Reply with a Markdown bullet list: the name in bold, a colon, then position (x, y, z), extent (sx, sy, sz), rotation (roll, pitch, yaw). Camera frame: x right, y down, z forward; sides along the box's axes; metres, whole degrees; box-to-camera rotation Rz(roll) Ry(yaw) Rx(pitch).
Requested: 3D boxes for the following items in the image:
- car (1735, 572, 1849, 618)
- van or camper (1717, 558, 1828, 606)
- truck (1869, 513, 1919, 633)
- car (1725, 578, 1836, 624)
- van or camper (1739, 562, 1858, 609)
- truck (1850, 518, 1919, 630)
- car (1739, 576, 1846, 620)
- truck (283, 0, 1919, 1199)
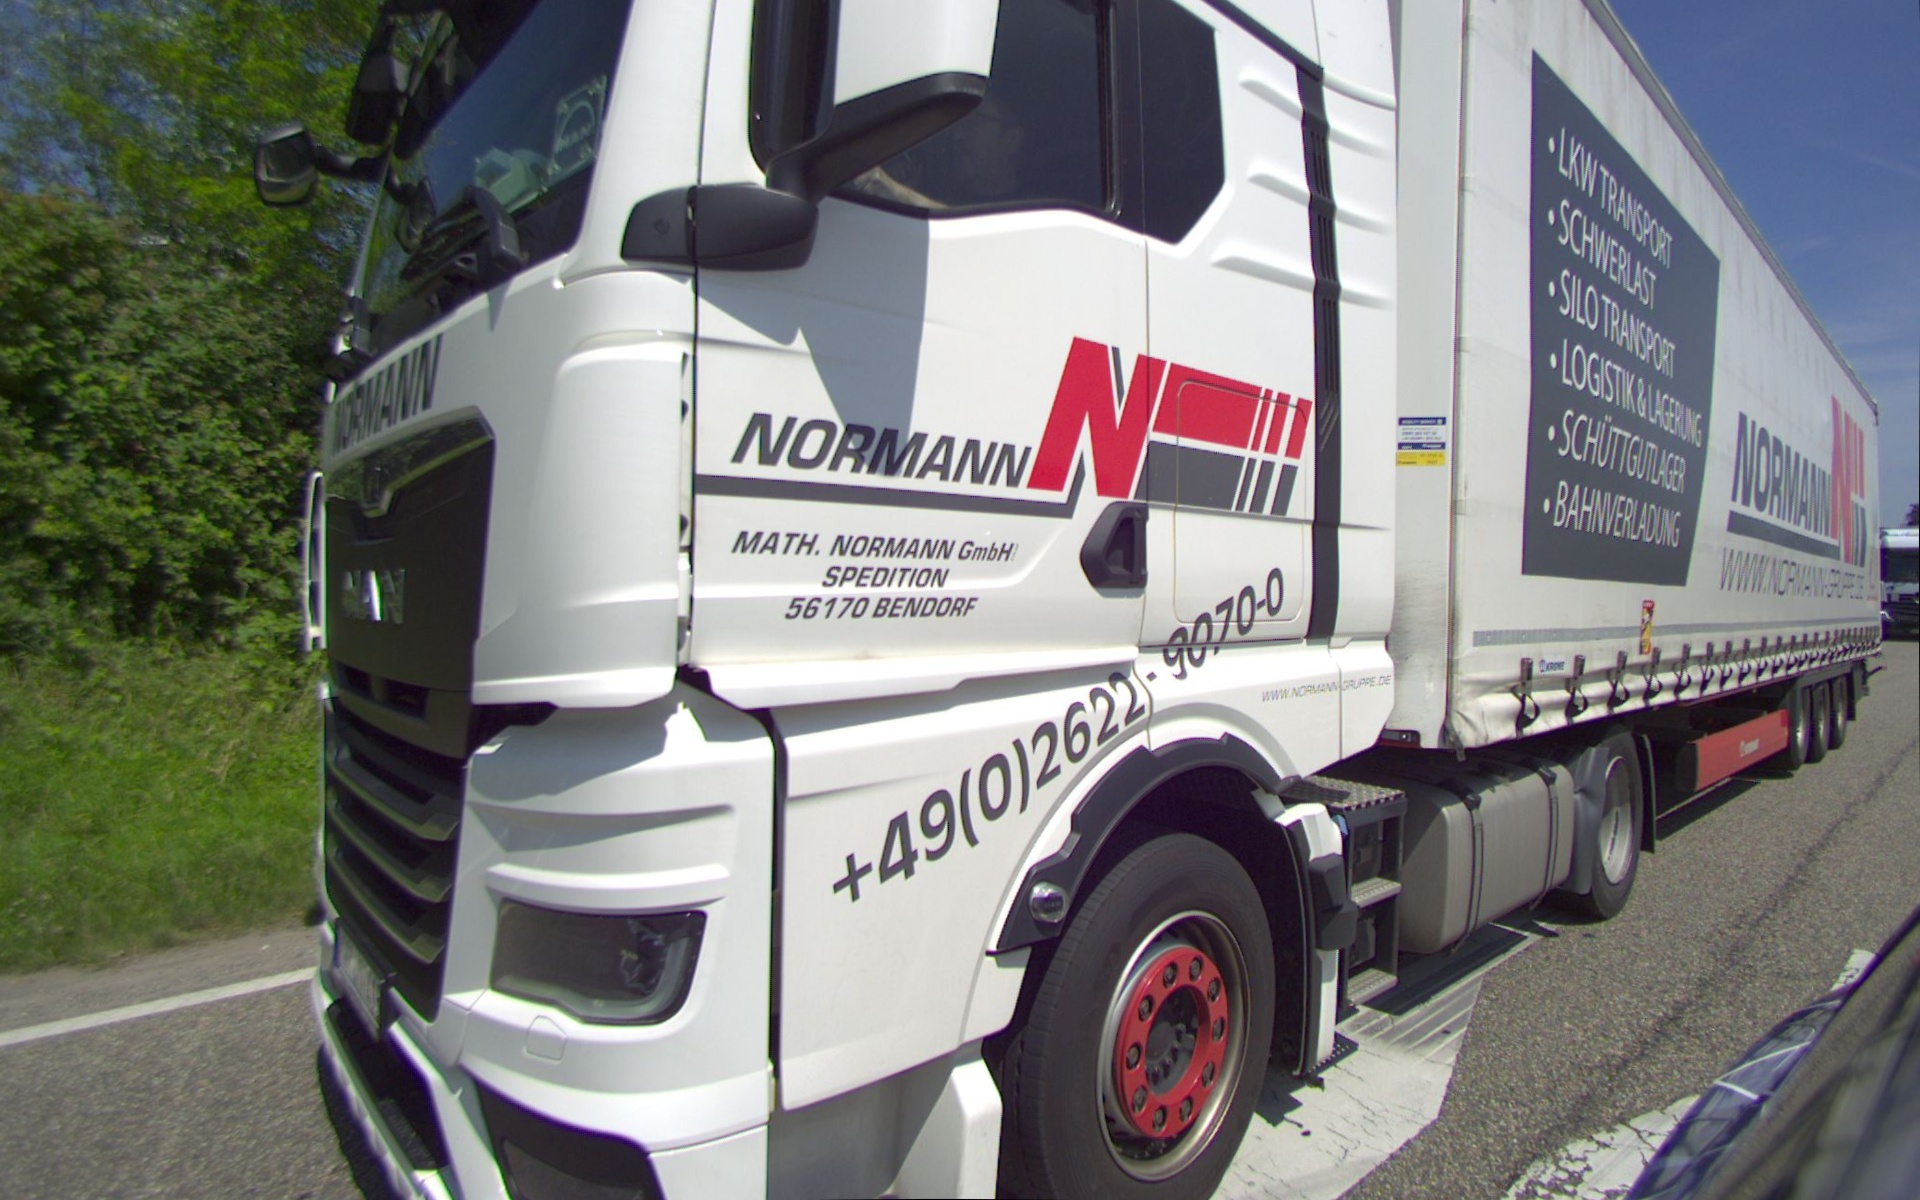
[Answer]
- **car**: position (38.893, -0.256, 47.342), extent (3.858, 1.711, 1.913), rotation (9, 7, 43)
- **van or camper**: position (52.591, -1.208, 65.551), extent (5.371, 2.941, 2.197), rotation (3, 2, 44)
- **truck**: position (35.112, -0.909, 36.403), extent (2.969, 4.058, 6.239), rotation (5, 4, 39)
- **car**: position (35.282, 0.000, 43.566), extent (3.527, 1.495, 1.806), rotation (9, 7, 40)
- **van or camper**: position (51.871, -0.944, 62.717), extent (5.478, 2.763, 2.197), rotation (3, 2, 44)
- **truck**: position (39.646, -1.046, 42.127), extent (2.969, 4.058, 13.927), rotation (5, 4, 38)
- **car**: position (37.398, -0.118, 45.549), extent (3.527, 1.495, 1.806), rotation (9, 7, 40)
- **truck**: position (5.045, -0.874, 8.247), extent (17.336, 4.145, 2.976), rotation (-1, 0, -43)
